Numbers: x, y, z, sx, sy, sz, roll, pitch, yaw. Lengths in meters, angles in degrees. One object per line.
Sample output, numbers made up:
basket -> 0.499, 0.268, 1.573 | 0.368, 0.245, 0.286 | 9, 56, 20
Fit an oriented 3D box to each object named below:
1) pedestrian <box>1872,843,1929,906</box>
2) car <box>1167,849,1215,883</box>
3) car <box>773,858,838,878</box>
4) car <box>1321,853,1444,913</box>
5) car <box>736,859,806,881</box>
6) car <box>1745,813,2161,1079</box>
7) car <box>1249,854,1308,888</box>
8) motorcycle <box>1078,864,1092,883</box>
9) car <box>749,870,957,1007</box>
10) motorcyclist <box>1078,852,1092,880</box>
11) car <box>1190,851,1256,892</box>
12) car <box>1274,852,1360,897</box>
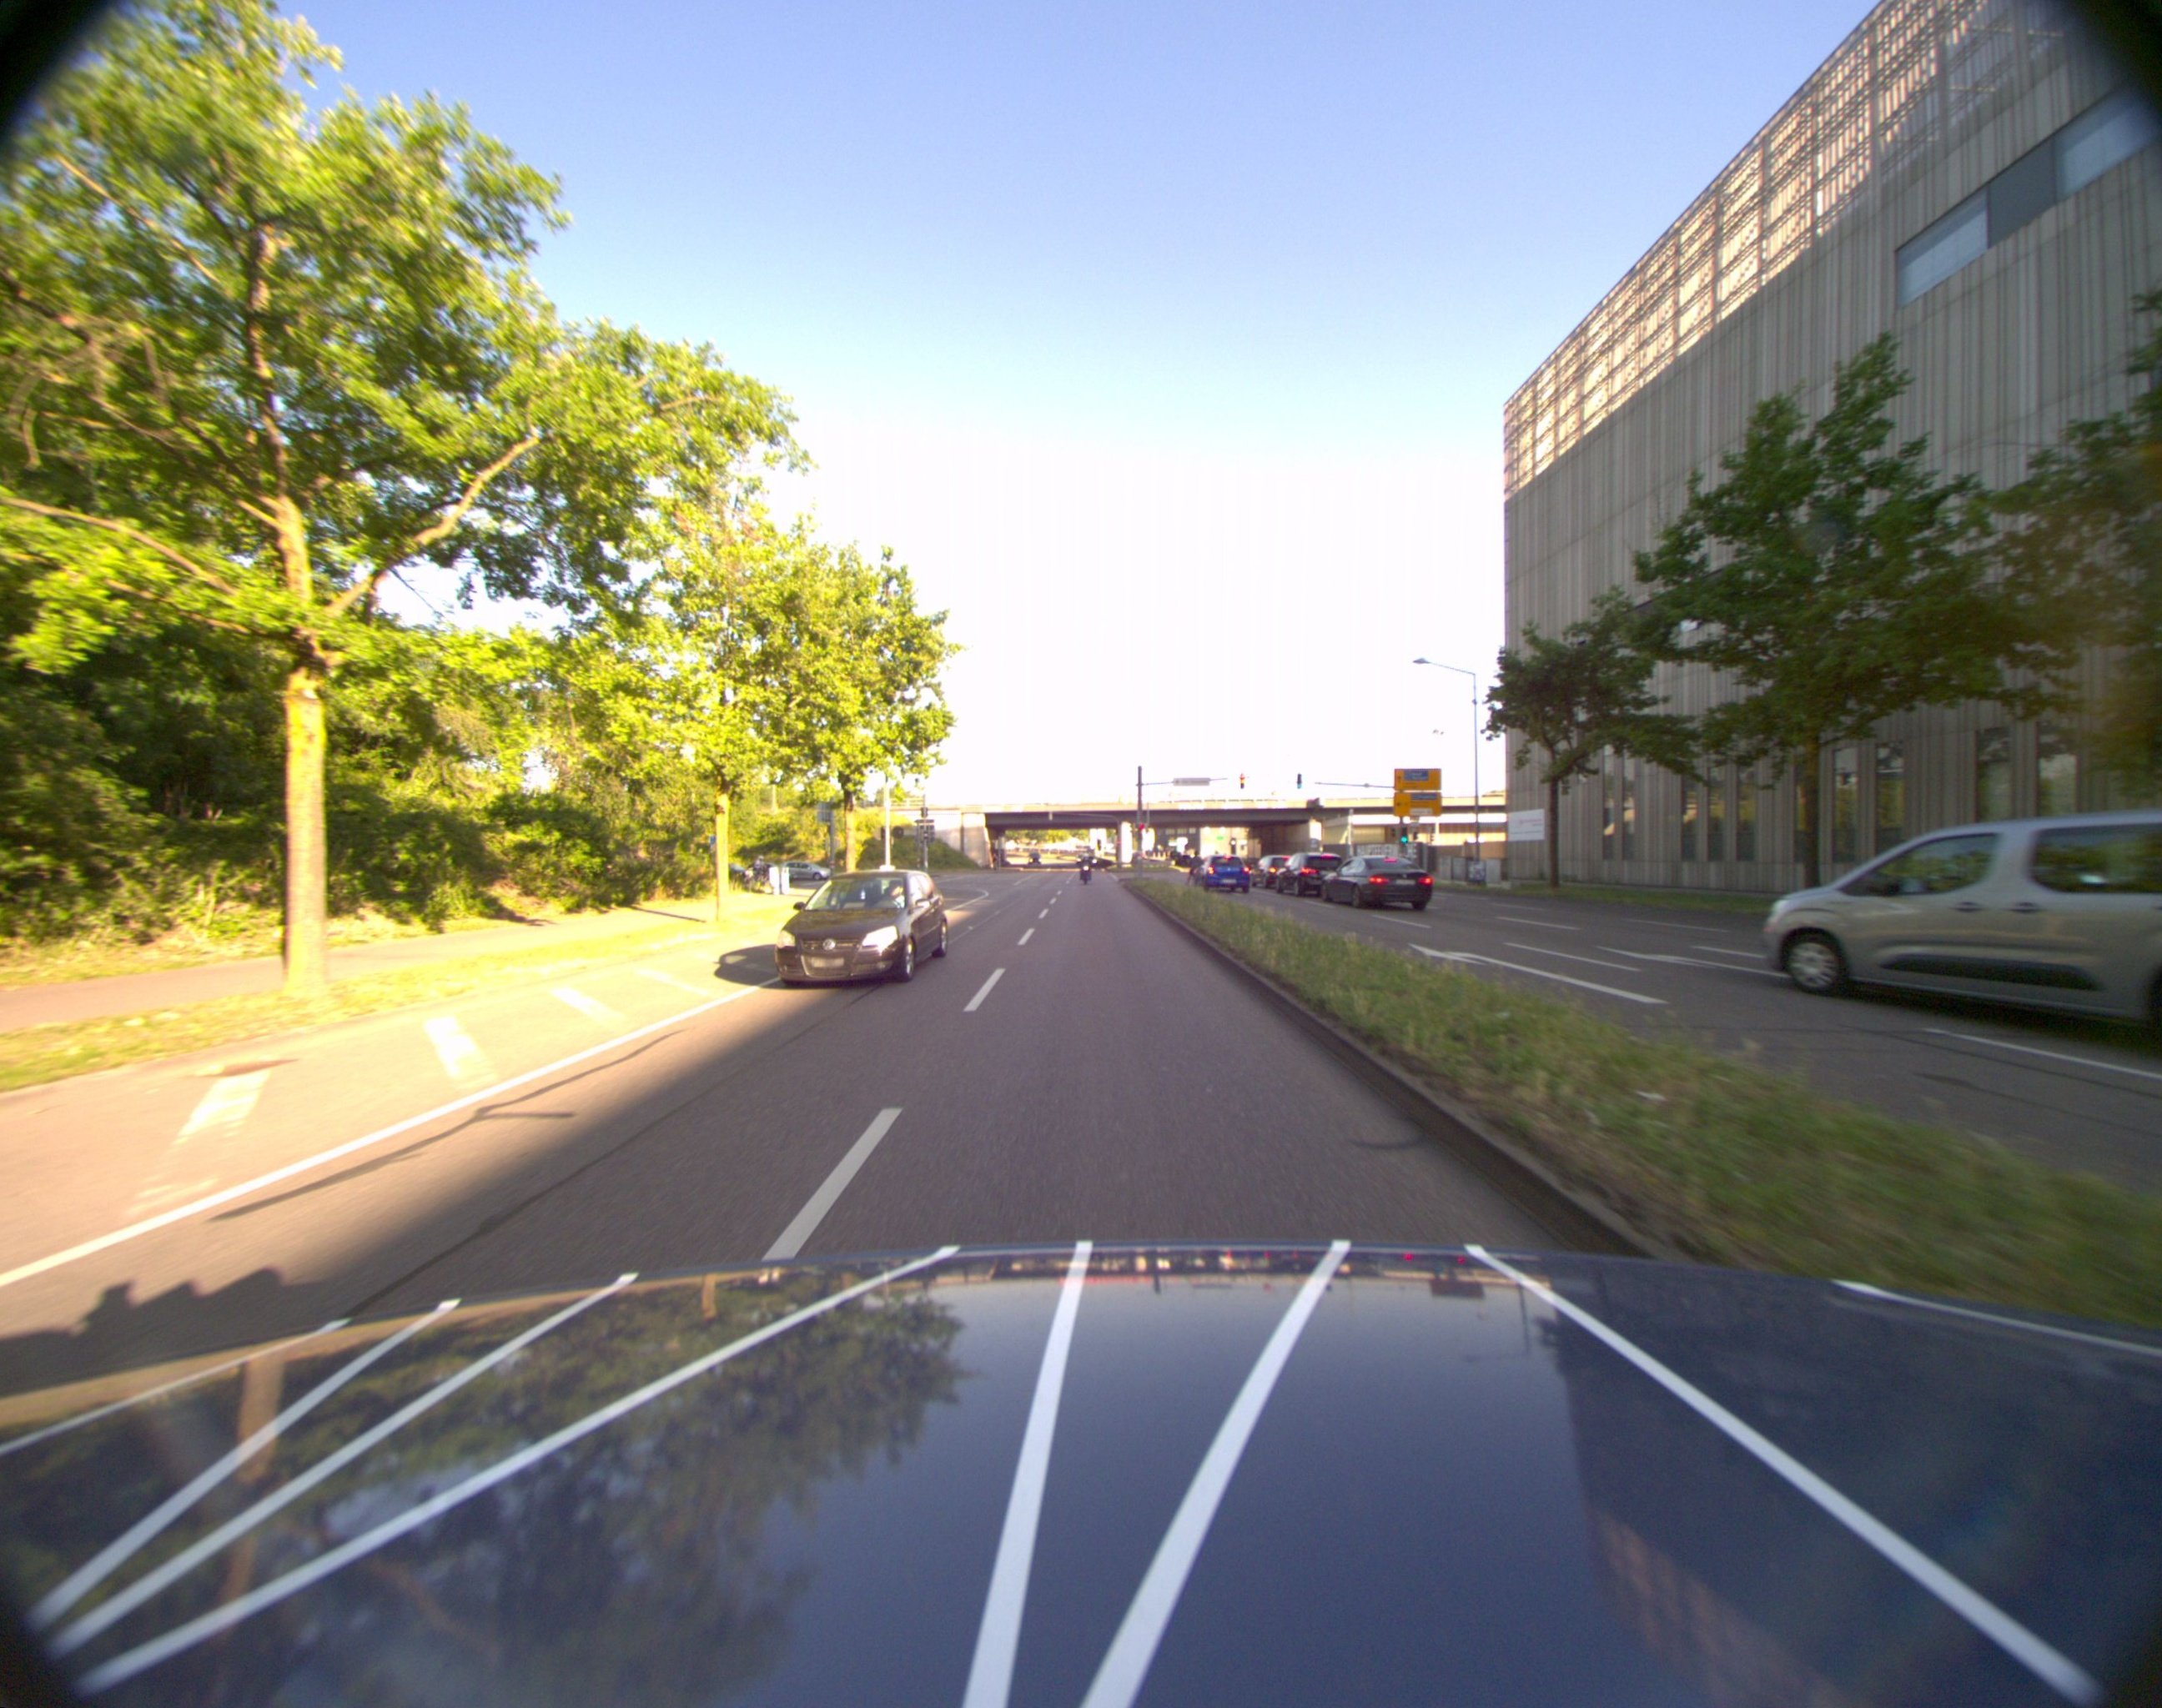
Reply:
pedestrian -> 21.459, 0.517, 19.913 | 0.698, 1.619, 0.725 | -1, 1, 1
car -> 5.361, 0.559, 37.606 | 1.930, 1.595, 4.000 | 0, 0, 2
car -> -21.149, 1.079, 58.425 | 4.285, 1.510, 1.932 | 0, 1, 4
car -> 8.437, 0.742, 21.725 | 1.930, 1.510, 4.290 | 0, 0, 2
car -> -22.607, 1.146, 55.457 | 4.285, 1.510, 1.932 | 0, 1, 4
car -> 8.392, 0.621, 6.303 | 1.998, 1.805, 4.401 | 0, 0, 2
car -> 8.819, 0.729, 34.207 | 1.695, 1.425, 3.772 | 0, 0, 1
motorcycle -> 0.224, 1.073, 41.881 | 0.749, 0.977, 2.140 | -1, 1, 0
car -> -3.027, 1.039, 11.068 | 1.726, 1.490, 4.214 | -2, 0, 0
motorcyclist -> 0.206, 0.661, 42.245 | 0.734, 1.503, 0.919 | 0, 1, -1
car -> 5.571, 0.651, 30.244 | 1.840, 1.510, 3.952 | 0, 0, 0
car -> 8.473, 0.701, 27.681 | 1.930, 1.510, 4.000 | 0, 0, 1
